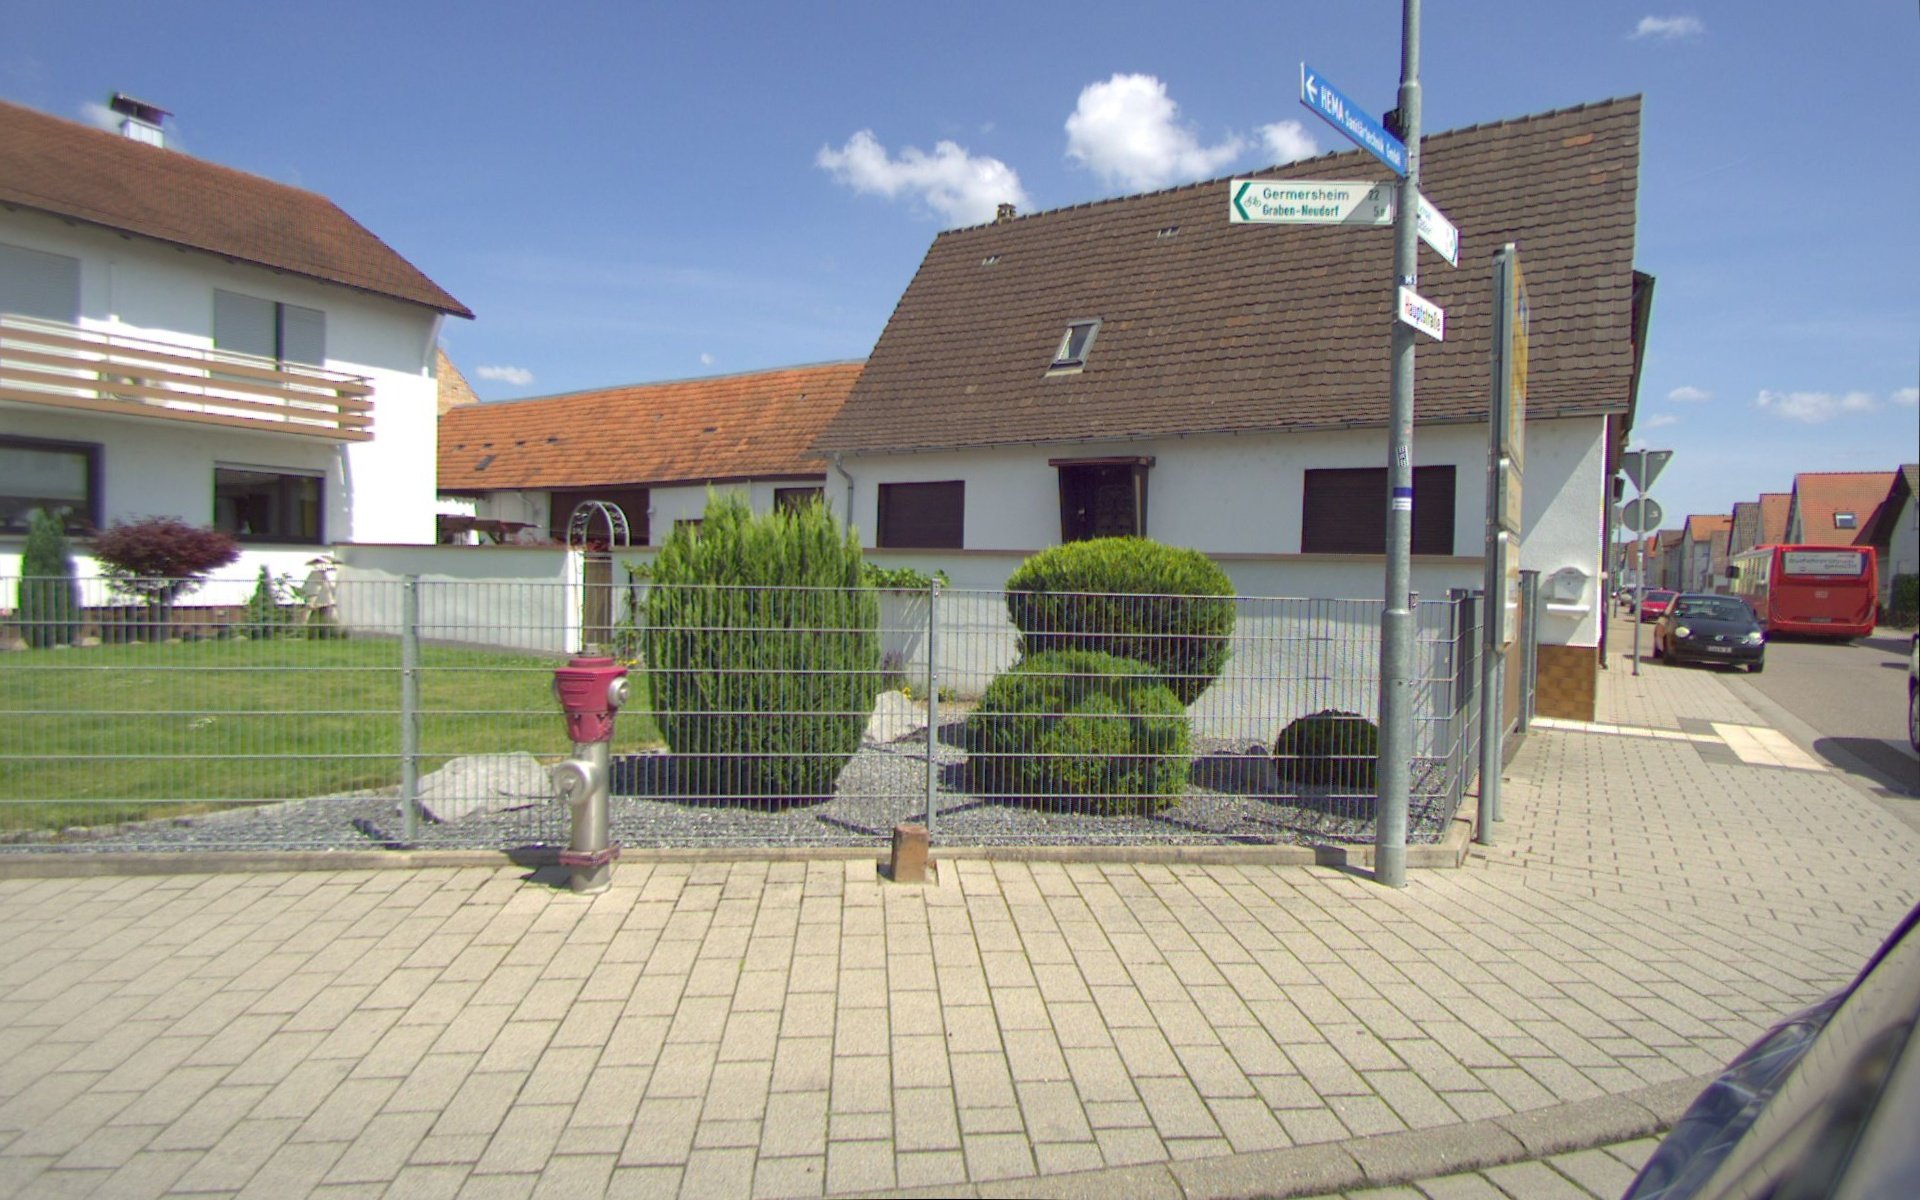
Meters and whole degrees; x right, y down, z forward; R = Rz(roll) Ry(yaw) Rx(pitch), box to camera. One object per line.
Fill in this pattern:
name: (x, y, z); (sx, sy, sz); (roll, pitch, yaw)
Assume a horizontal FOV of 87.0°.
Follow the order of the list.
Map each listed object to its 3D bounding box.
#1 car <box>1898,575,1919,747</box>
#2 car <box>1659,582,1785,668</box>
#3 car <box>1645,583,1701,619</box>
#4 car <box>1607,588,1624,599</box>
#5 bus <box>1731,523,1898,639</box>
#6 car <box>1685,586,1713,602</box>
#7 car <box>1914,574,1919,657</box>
car: (9.343, 0.600, 8.202); (1.833, 1.666, 4.322); (0, 0, 33)
car: (15.389, 0.430, 20.591); (1.680, 1.481, 3.587); (5, 3, 33)
car: (31.209, -0.002, 44.372); (1.753, 1.446, 4.140); (2, 2, 33)
car: (91.134, -0.847, 140.687); (1.751, 1.446, 3.812); (2, 2, 30)
bus: (28.976, -0.689, 34.878); (2.617, 3.271, 11.884); (4, 3, 32)
car: (71.267, -0.596, 97.669); (1.751, 1.446, 3.812); (2, 2, 30)
car: (21.190, 0.427, 20.375); (1.762, 1.843, 4.397); (3, 3, 29)
